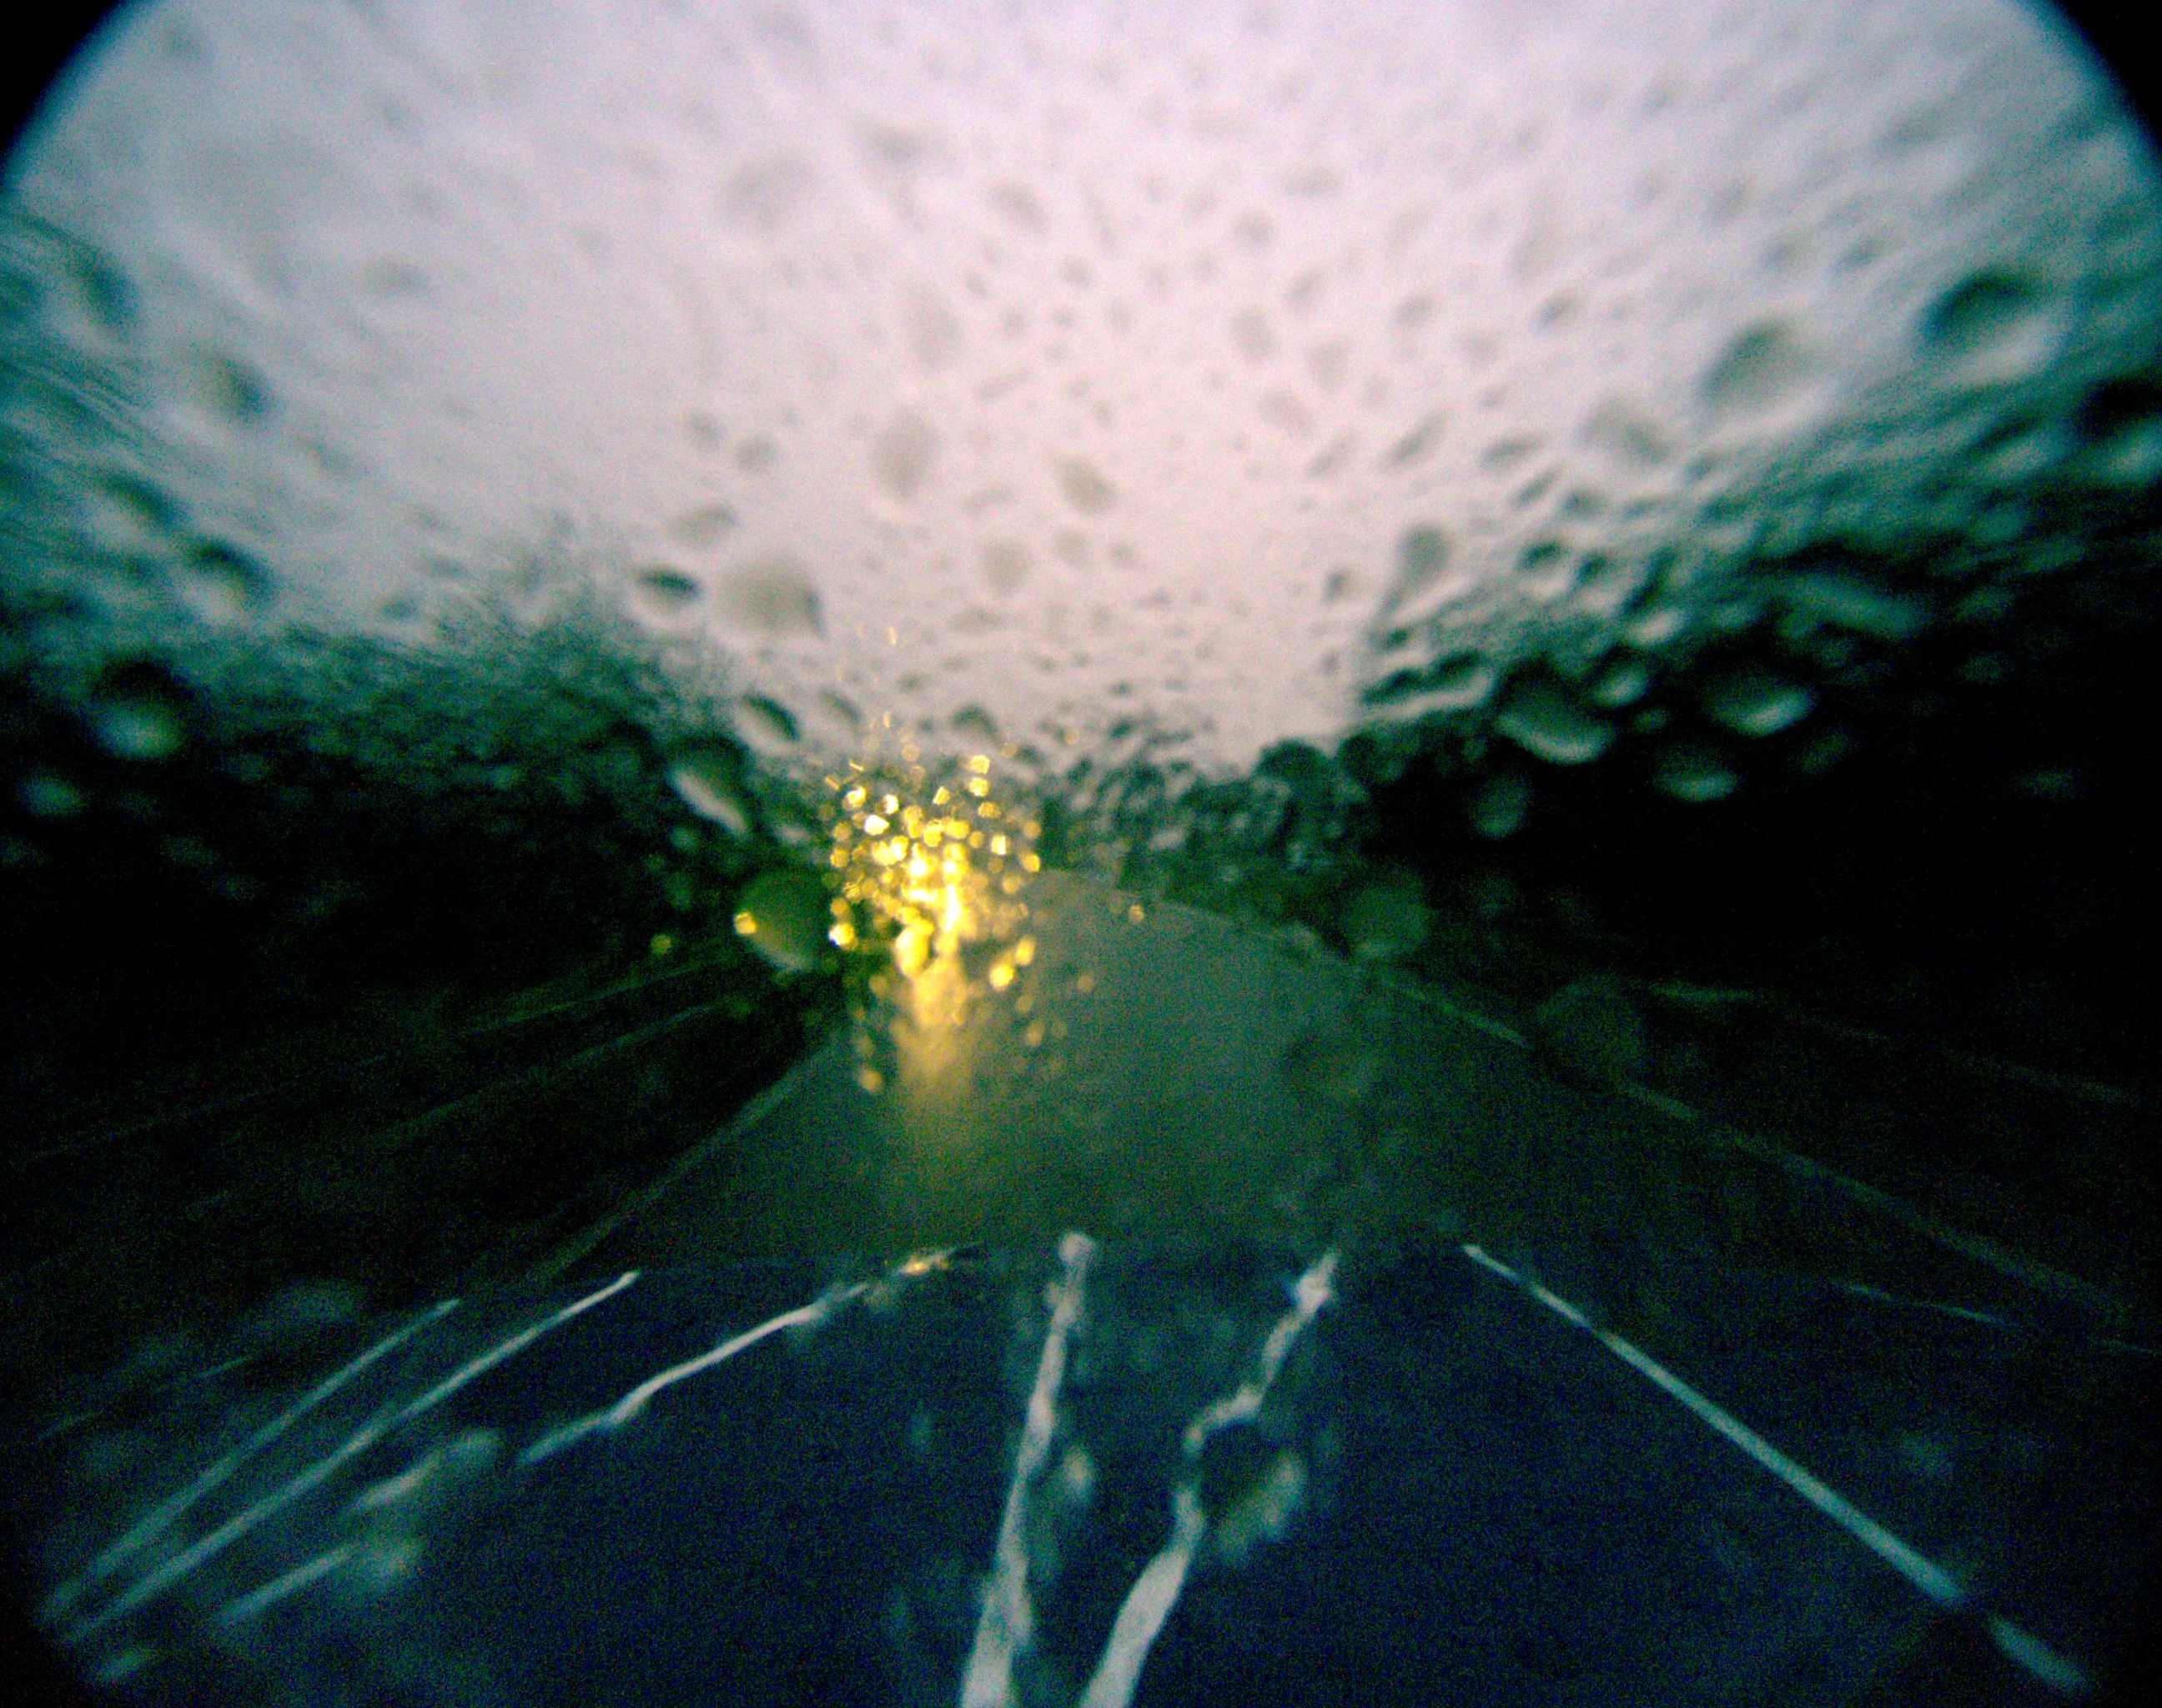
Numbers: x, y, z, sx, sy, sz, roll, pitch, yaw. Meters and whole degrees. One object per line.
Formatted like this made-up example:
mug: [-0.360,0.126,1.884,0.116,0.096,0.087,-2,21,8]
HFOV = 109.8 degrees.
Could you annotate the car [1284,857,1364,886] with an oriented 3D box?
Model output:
car: [13.164,0.916,41.211,3.863,1.502,1.659,0,0,30]

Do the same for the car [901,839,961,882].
car: [-7.543,0.365,37.949,2.003,2.001,3.956,2,-2,-26]
